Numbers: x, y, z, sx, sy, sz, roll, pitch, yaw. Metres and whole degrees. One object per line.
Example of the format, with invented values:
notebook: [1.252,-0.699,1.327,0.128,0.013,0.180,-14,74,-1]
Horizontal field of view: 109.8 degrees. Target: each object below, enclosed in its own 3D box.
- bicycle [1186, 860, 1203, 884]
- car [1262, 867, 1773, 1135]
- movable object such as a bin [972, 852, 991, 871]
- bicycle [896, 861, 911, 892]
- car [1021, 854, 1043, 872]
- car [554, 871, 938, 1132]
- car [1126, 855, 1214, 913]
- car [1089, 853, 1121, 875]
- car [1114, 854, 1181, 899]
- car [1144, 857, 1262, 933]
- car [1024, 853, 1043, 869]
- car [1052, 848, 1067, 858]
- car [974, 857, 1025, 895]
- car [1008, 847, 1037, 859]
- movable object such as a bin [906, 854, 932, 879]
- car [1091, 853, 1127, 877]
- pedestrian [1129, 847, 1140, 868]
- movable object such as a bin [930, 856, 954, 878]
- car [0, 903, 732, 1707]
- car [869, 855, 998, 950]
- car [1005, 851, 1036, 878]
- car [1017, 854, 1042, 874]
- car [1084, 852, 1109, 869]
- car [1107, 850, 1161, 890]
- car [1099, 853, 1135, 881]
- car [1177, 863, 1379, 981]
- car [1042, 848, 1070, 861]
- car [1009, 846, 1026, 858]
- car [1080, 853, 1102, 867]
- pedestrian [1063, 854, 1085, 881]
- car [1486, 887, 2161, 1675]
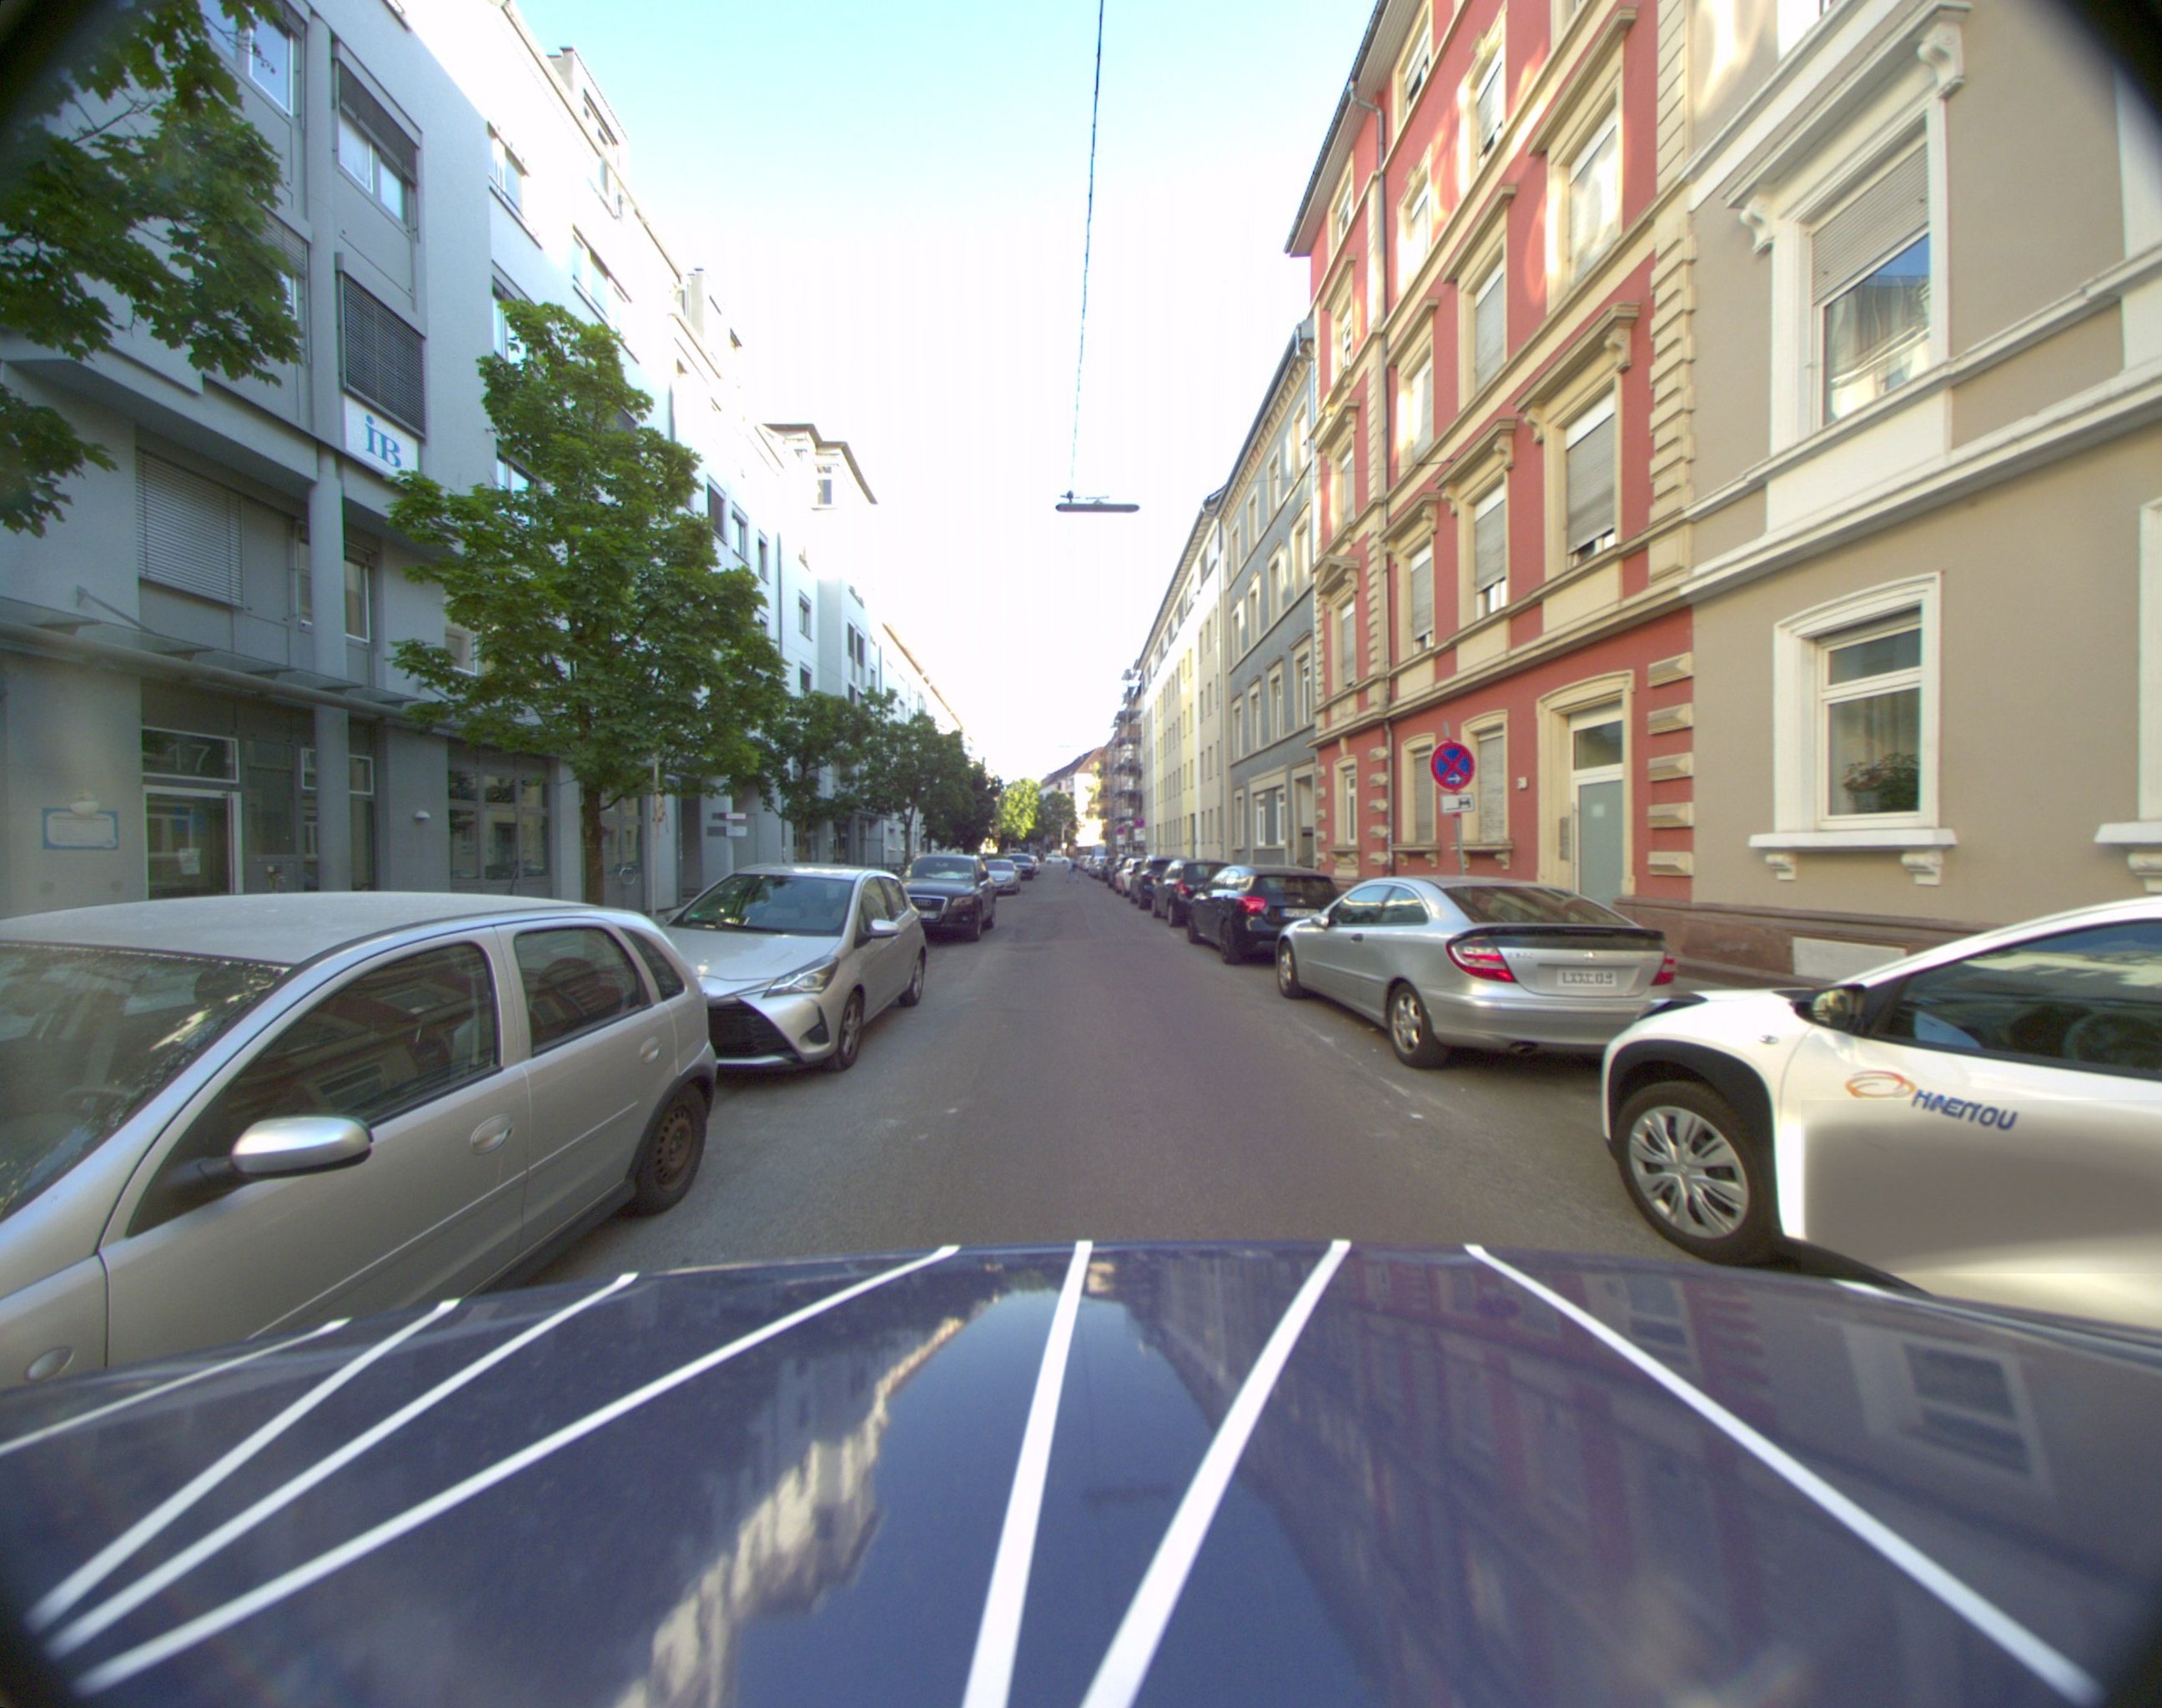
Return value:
bicycle: [5.283,0.813,35.522,0.451,1.068,1.751,-2,1,-1]
car: [3.184,0.942,6.763,1.926,1.551,4.266,1,0,-3]
movable object such as a bin: [-7.774,0.603,59.456,1.288,1.428,1.223,0,1,-2]
bicycle: [-7.055,0.875,30.242,0.522,1.161,1.738,1,1,-12]
car: [-4.156,0.719,64.288,1.681,1.411,4.135,1,0,-2]
car: [-2.483,0.979,6.773,1.681,1.516,3.970,1,0,0]
car: [2.561,0.827,22.945,1.926,1.551,4.266,1,0,-3]
car: [1.678,0.670,54.497,1.928,1.480,4.615,1,0,-3]
car: [2.432,0.787,28.846,1.926,1.551,4.266,1,0,-3]
car: [2.750,0.880,18.130,1.906,1.551,4.239,1,0,-3]
car: [-4.402,0.629,70.471,1.681,1.411,4.134,1,0,-2]
car: [-3.806,-0.203,131.659,2.081,1.760,4.214,1,0,-8]
car: [-3.378,0.896,32.068,1.768,1.421,4.343,1,0,-2]
car: [-9.647,-0.162,125.107,4.210,1.760,2.083,1,1,12]
movable object such as a bin: [-9.525,0.706,44.706,1.265,1.428,1.138,0,1,-2]
car: [1.749,0.677,49.129,1.928,1.480,4.616,1,0,-2]
pedestrian: [4.612,0.283,65.929,0.791,1.750,1.092,1,1,-2]
movable object such as a bin: [-8.226,0.765,44.998,1.265,1.313,1.138,0,1,-2]
car: [-2.596,0.998,1.878,1.680,1.467,3.729,1,0,1]
car: [-2.835,0.858,15.596,1.890,1.613,4.433,1,0,-2]
car: [-3.817,0.636,48.738,1.876,1.626,4.720,1,0,-3]
car: [-3.996,0.746,59.341,1.680,1.474,3.652,1,0,1]
car: [1.386,0.585,68.941,1.999,1.496,3.998,1,0,-3]
car: [2.305,0.677,34.223,1.926,1.654,4.467,1,0,-3]
car: [2.043,0.705,44.280,1.784,1.480,4.419,1,0,-2]
car: [2.878,0.932,12.157,1.926,1.475,4.266,1,0,-3]
car: [-3.780,0.077,115.172,4.214,1.760,2.081,1,1,1]
car: [-11.735,-0.367,140.165,2.163,2.270,6.199,1,0,-15]
car: [1.057,0.604,79.078,1.999,1.423,3.998,1,0,-3]
pedestrian: [-0.363,0.727,41.115,0.868,1.455,0.804,1,1,33]
car: [3.174,0.943,1.962,1.925,1.498,4.267,1,0,0]
